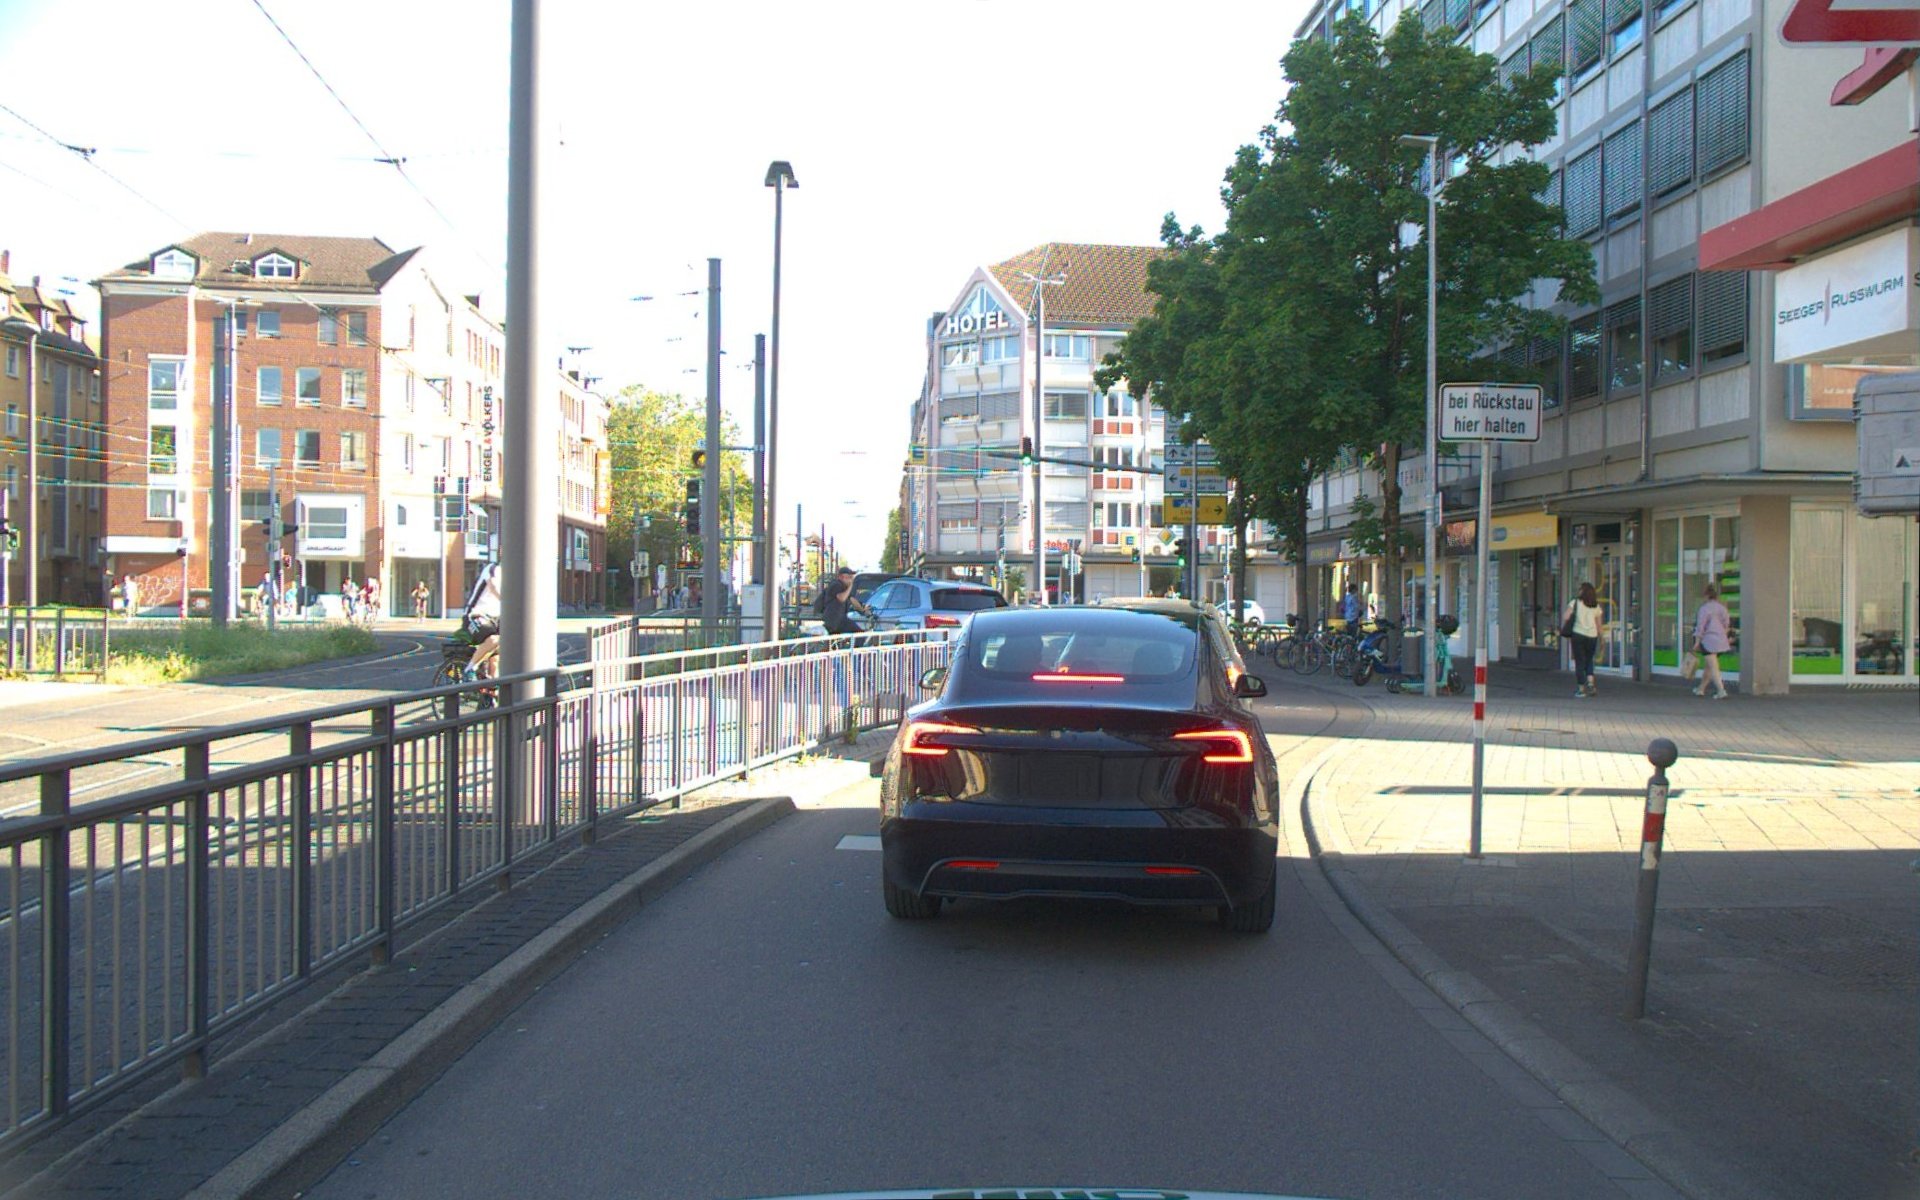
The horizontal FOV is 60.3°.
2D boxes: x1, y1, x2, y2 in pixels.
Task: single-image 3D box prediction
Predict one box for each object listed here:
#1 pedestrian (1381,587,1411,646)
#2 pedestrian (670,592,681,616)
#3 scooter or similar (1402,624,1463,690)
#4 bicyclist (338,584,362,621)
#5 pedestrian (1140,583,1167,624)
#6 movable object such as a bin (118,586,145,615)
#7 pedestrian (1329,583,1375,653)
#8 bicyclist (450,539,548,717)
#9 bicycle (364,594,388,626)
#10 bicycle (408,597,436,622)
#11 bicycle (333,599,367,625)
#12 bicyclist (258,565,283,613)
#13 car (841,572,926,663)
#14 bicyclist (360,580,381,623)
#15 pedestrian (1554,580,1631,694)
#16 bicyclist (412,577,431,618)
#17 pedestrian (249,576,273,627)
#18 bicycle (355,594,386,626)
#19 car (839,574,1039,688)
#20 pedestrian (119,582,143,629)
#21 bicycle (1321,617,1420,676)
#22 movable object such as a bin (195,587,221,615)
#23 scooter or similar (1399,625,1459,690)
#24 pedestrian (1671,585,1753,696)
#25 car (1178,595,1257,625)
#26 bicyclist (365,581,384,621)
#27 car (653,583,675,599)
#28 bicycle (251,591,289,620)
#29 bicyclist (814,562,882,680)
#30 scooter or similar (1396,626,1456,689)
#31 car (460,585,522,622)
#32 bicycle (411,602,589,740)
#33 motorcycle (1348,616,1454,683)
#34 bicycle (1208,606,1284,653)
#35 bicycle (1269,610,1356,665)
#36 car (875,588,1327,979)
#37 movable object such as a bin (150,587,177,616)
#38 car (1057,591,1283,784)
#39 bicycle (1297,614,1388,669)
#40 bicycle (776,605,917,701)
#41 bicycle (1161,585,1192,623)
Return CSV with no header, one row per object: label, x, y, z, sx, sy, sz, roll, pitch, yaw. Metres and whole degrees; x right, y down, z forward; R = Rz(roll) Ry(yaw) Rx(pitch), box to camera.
pedestrian,10.852,0.409,41.179,0.631,1.447,0.621,1,-1,9
pedestrian,-18.731,0.290,108.968,0.574,1.557,0.634,1,-1,-18
scooter or similar,7.714,0.925,27.003,0.943,1.061,0.160,0,0,2
bicyclist,-24.818,0.086,67.271,0.650,1.479,0.730,1,-1,0
pedestrian,7.651,0.128,65.414,0.766,1.604,0.864,1,1,-15
movable object such as a bin,-43.025,0.042,85.909,0.978,1.462,1.093,1,0,-10
pedestrian,9.863,0.450,41.624,0.829,1.751,0.876,1,-1,36
bicyclist,-4.399,0.261,15.800,0.669,1.659,0.577,1,-1,32
bicycle,-24.681,0.404,69.912,0.563,1.313,2.023,1,0,-8
bicycle,-22.723,0.402,69.891,0.519,1.031,1.897,1,0,1
bicycle,-24.830,0.493,67.335,0.636,1.031,1.885,1,0,1
bicyclist,-24.669,-0.395,59.181,0.510,1.702,0.770,1,-1,0
car,-1.494,0.330,32.288,1.541,1.646,3.781,1,0,-3
bicyclist,-23.253,0.061,65.210,0.510,1.702,0.770,1,-1,0
pedestrian,9.829,0.568,25.719,0.826,1.737,0.880,1,-1,-1
bicyclist,-22.717,-0.115,69.775,0.514,1.702,0.770,1,-1,1
pedestrian,-28.440,0.077,67.287,0.582,2.049,0.830,1,-1,2
bicycle,-23.261,0.404,65.273,0.519,1.235,1.885,1,0,1
car,-0.396,0.461,26.197,1.818,1.663,3.455,1,0,-27
pedestrian,-30.835,0.198,61.540,0.613,1.717,0.703,1,1,-13
bicycle,7.795,0.882,31.387,1.817,1.074,0.398,-1,0,-12
movable object such as a bin,-39.270,0.060,86.387,0.978,1.462,1.093,1,0,-10
scooter or similar,7.719,0.939,27.201,0.936,1.057,0.160,0,0,2
pedestrian,11.413,0.606,25.122,0.826,1.630,0.880,1,0,-1
car,13.486,0.537,86.605,3.766,1.457,1.801,1,-2,-6
bicyclist,-24.654,0.048,69.654,0.577,1.678,0.805,1,-1,-8
car,-27.616,-0.828,154.517,1.783,1.479,3.971,-1,0,-8
bicycle,-24.675,0.192,59.204,0.519,1.031,1.885,1,0,1
bicyclist,-1.505,0.280,22.213,0.674,1.550,0.628,1,-1,-32
scooter or similar,7.723,0.949,27.402,0.943,1.045,0.160,0,0,2
car,-21.307,0.172,75.253,1.650,1.588,4.121,1,0,-1
bicycle,-4.405,0.653,15.790,1.787,1.233,0.581,1,-1,33
motorcycle,7.815,0.867,29.333,1.751,1.149,0.504,1,-1,-3
bicycle,7.358,0.758,42.515,1.851,1.177,0.480,-1,-1,0
bicycle,7.558,0.791,35.471,1.774,1.172,0.435,0,0,-5
car,0.687,0.705,8.496,1.753,1.476,3.942,1,1,4
movable object such as a bin,-41.511,0.089,86.184,0.978,1.462,1.093,1,0,-10
car,1.791,0.666,15.171,1.727,1.469,4.531,1,0,4
bicycle,7.732,0.830,33.437,1.730,1.075,0.458,1,-1,4
bicycle,-1.512,0.701,22.208,1.802,1.233,0.635,1,-1,-32
bicycle,8.552,0.145,65.401,0.573,1.489,1.679,0,0,-16
